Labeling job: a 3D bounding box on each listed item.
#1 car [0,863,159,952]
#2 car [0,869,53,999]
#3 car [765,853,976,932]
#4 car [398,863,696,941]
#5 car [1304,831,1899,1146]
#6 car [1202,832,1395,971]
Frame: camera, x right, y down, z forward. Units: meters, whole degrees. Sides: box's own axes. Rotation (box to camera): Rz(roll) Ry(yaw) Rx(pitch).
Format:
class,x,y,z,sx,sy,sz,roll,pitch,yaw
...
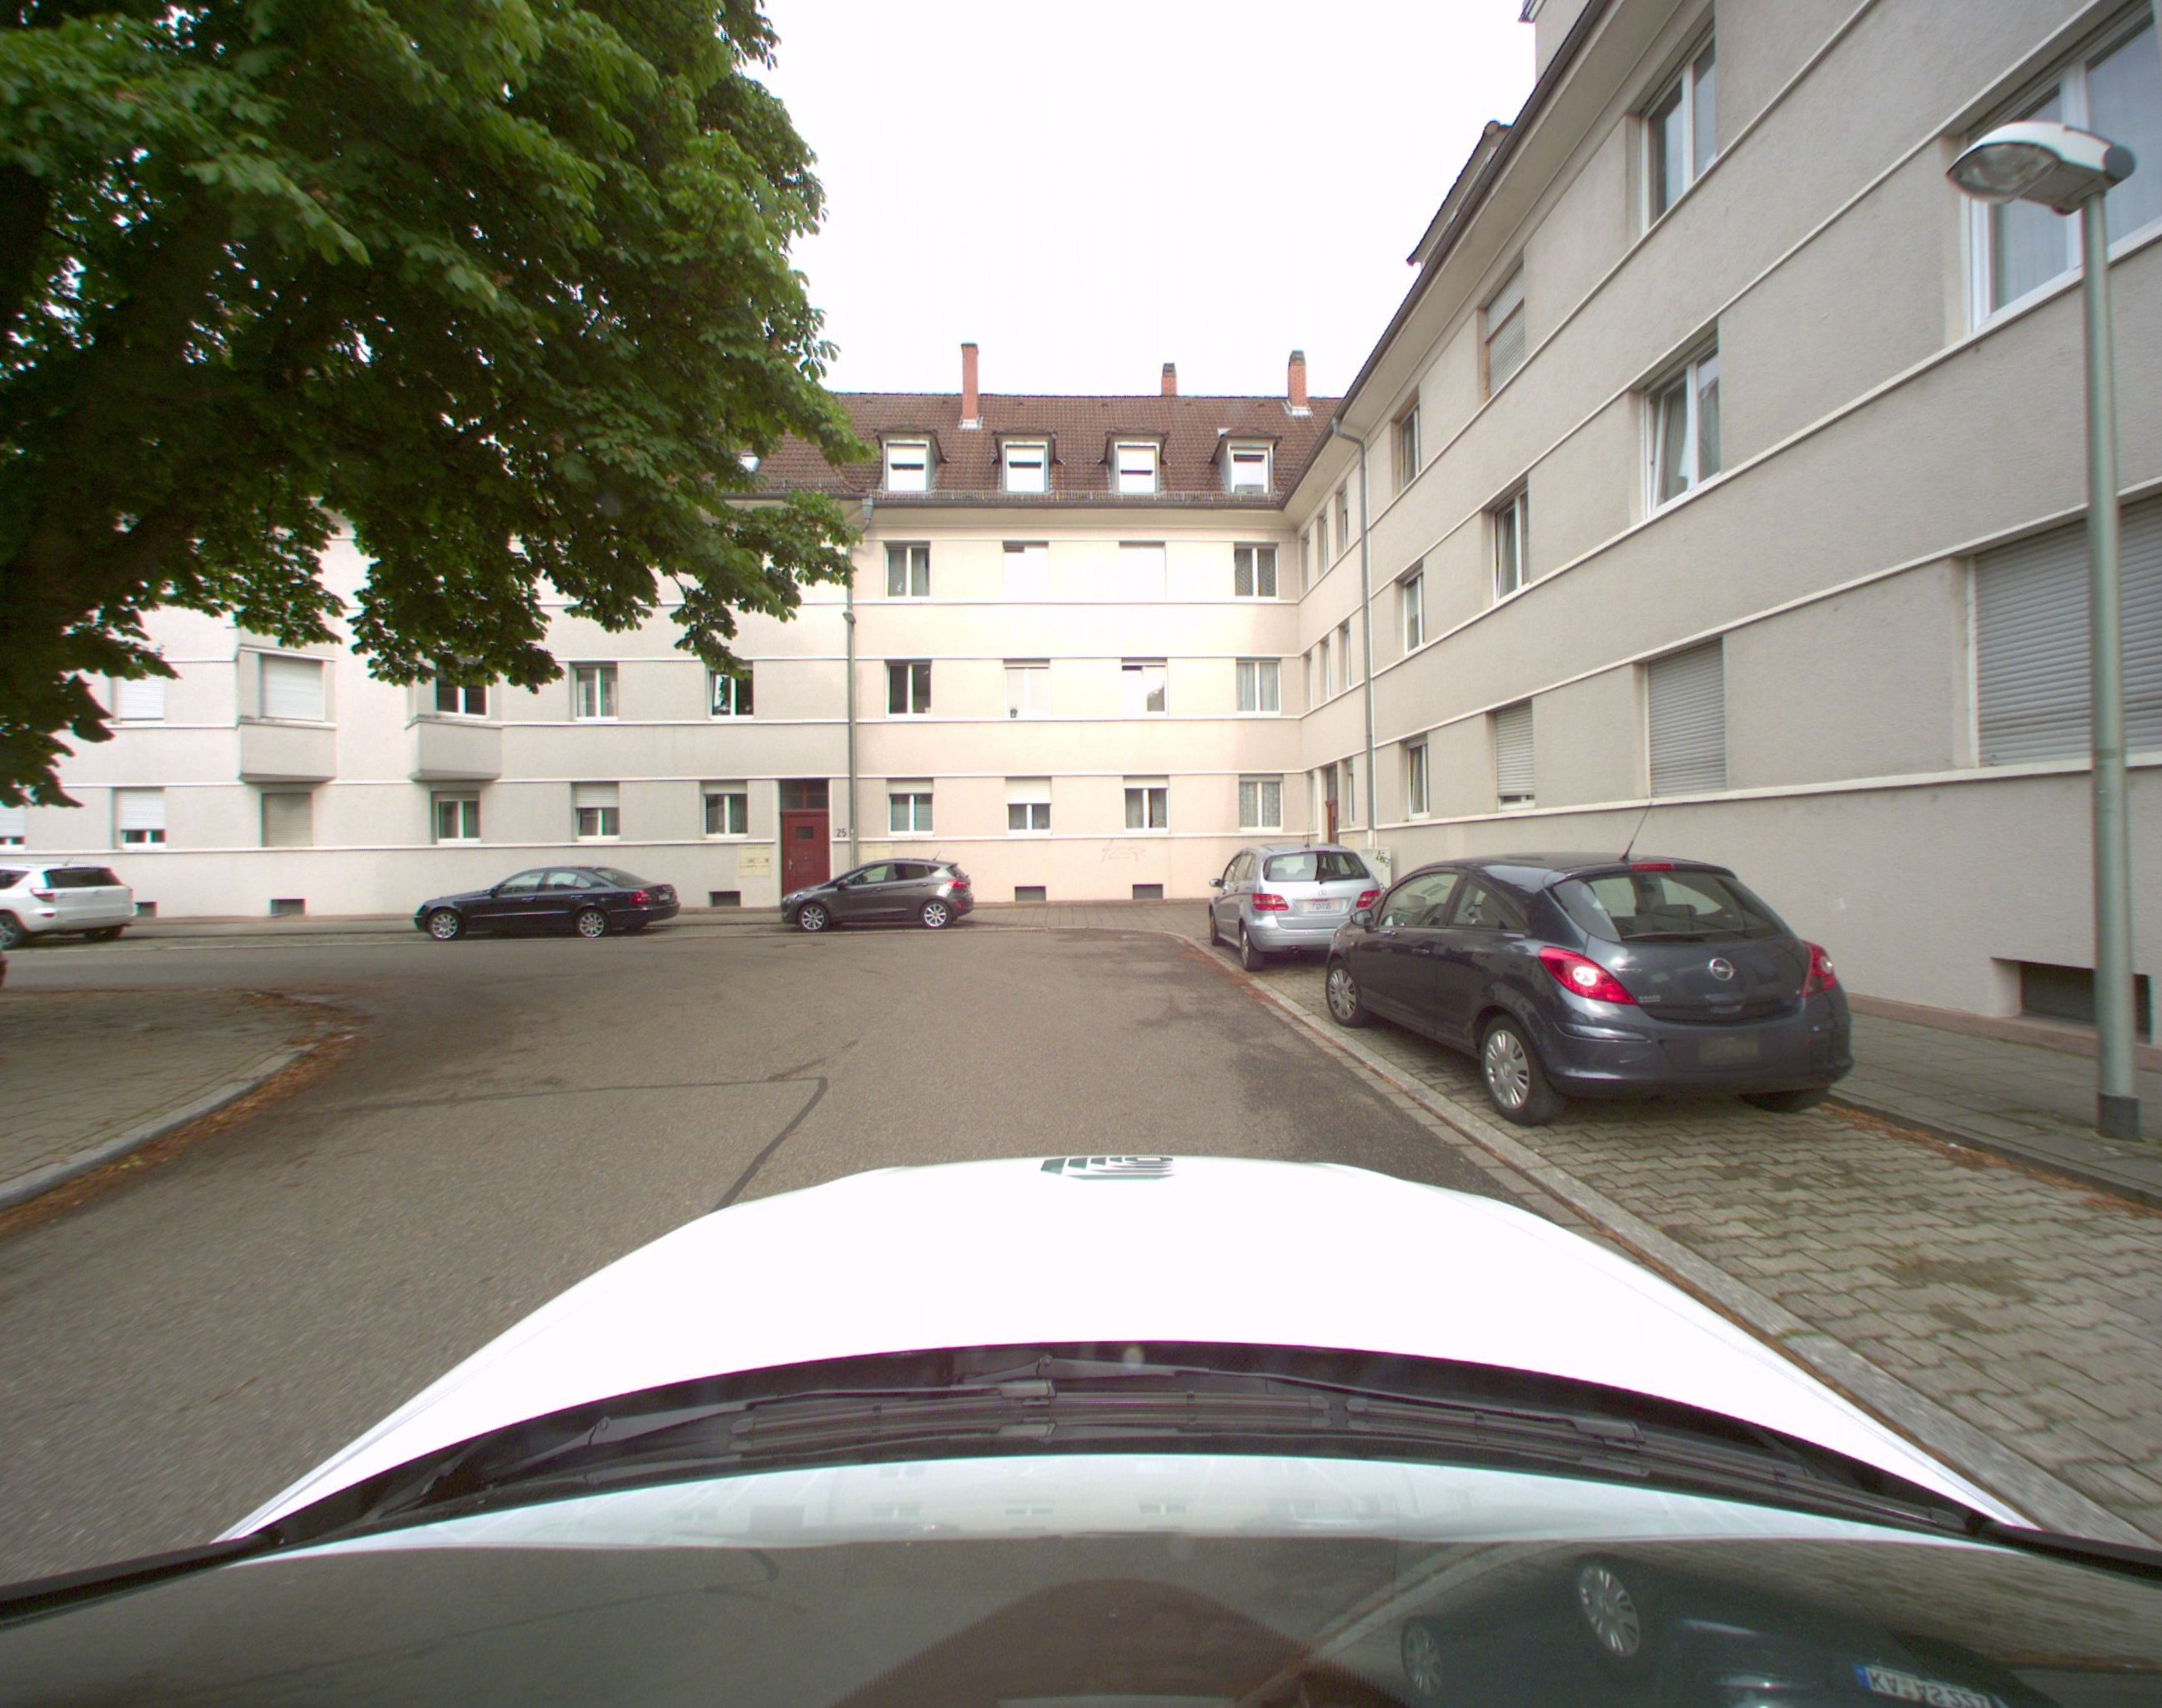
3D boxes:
class,x,y,z,sx,sy,sz,roll,pitch,yaw
car,-22.348,1.085,16.807,4.266,1.673,1.846,-1,1,-4
car,-14.275,0.937,9.101,3.567,1.494,1.529,-1,-3,1
car,-4.361,0.782,17.388,4.057,1.525,1.761,-1,1,-4
car,-10.934,0.955,16.962,4.922,1.420,1.749,-1,1,-4
car,3.070,0.664,5.919,1.752,1.489,3.935,-1,-1,-1
car,2.905,0.581,11.824,1.750,1.627,4.201,-1,-1,1
